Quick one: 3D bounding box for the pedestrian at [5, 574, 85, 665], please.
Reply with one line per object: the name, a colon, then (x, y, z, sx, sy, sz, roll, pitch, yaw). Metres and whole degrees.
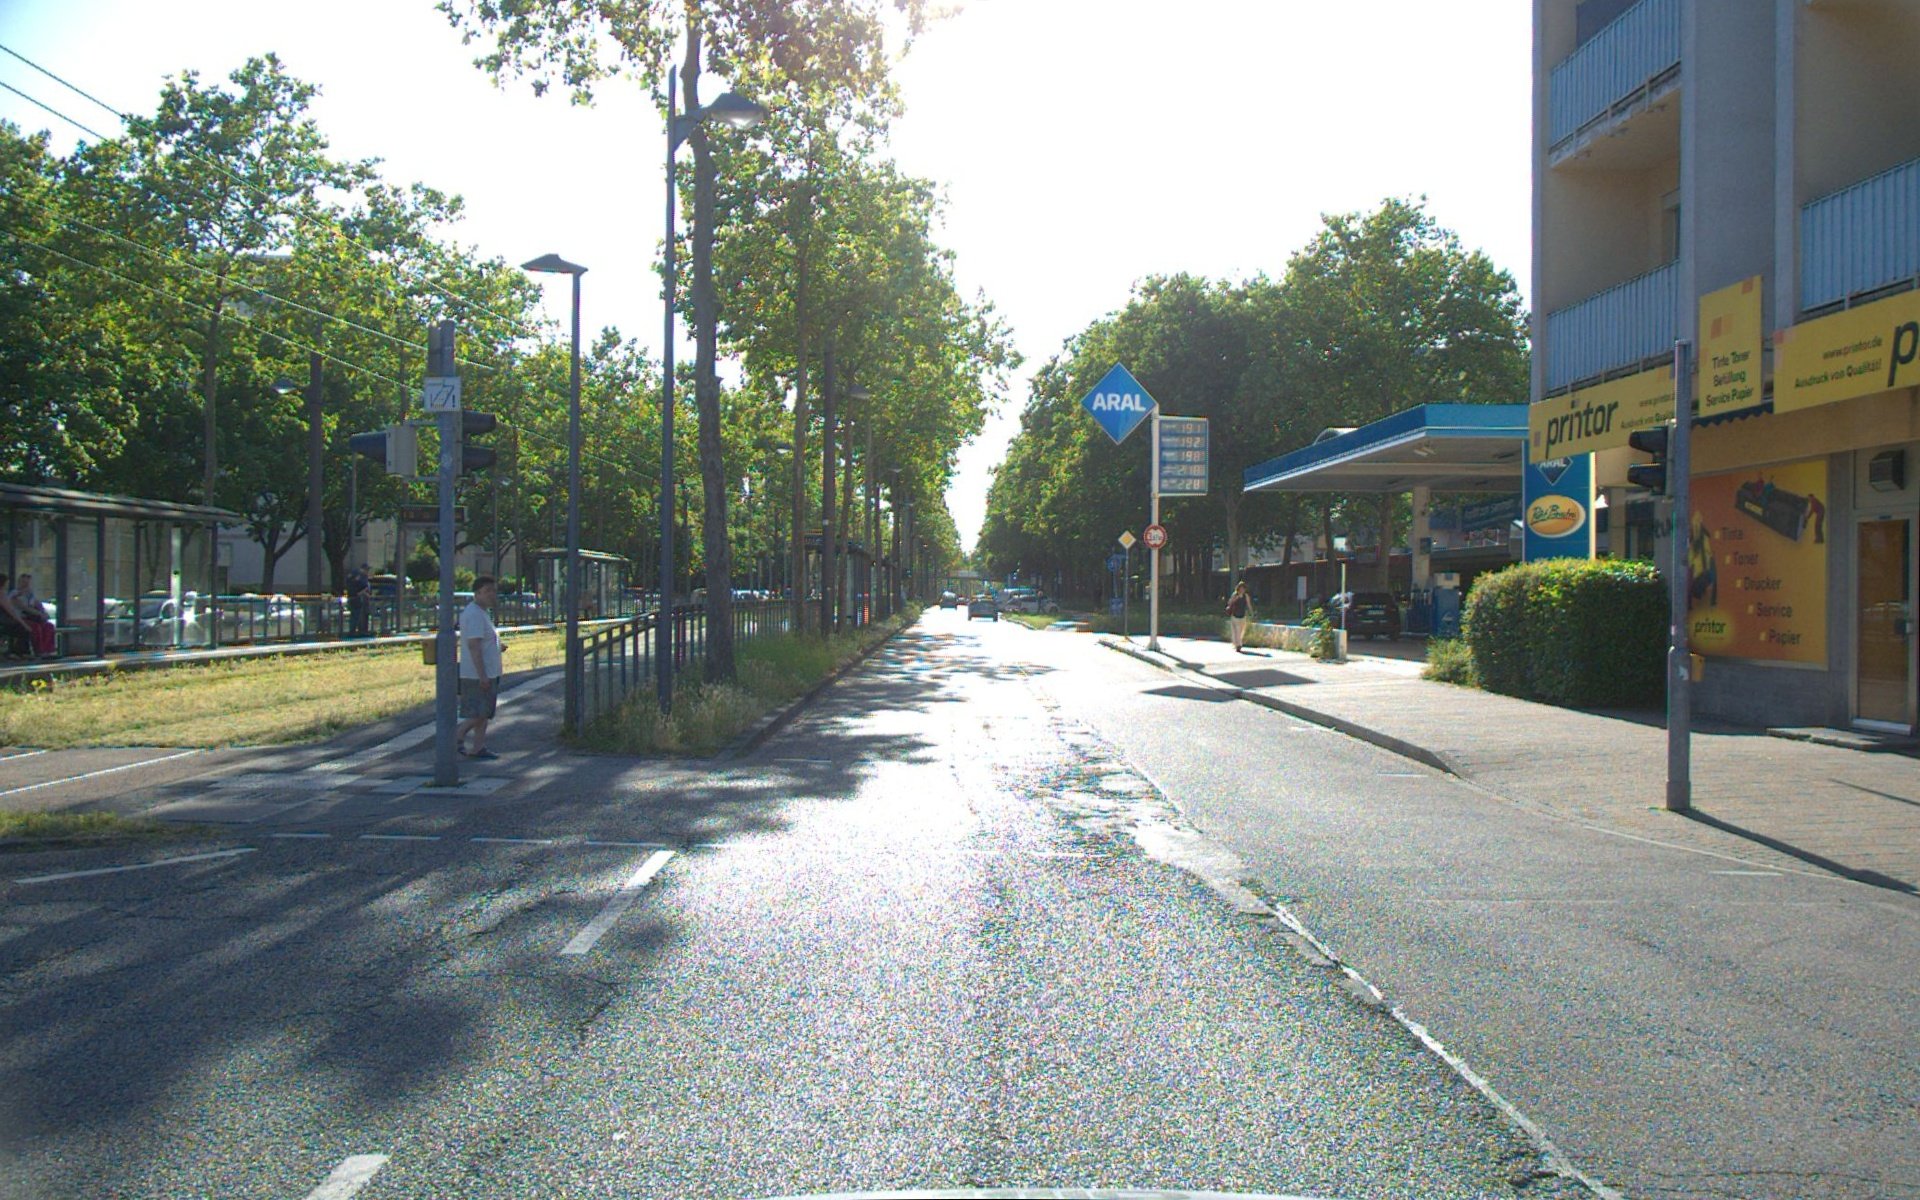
pedestrian: (-13.944, 0.291, 25.214, 0.716, 1.365, 0.774, 0, 0, 13)

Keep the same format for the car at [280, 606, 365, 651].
car: (-22.837, 0.983, 59.359, 1.561, 1.514, 4.019, 0, 0, -1)

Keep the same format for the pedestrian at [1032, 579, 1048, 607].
pedestrian: (5.067, -0.457, 104.594, 0.704, 1.736, 0.646, -1, -1, -35)

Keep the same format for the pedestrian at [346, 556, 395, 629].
pedestrian: (-14.040, -0.184, 39.377, 0.865, 1.719, 0.754, 1, 0, 0)

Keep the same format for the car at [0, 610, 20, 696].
car: (-16.915, 0.902, 26.692, 1.573, 1.452, 3.535, 0, 0, -2)

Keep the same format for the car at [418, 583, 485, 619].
car: (-23.119, 0.025, 75.322, 1.678, 1.573, 3.934, 0, 0, 2)

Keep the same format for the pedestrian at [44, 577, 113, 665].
pedestrian: (-13.915, 0.324, 26.114, 0.680, 1.365, 0.734, 0, 0, 1)

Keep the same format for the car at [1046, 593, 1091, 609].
car: (9.635, 0.087, 146.476, 4.153, 1.437, 1.693, 0, 0, -44)

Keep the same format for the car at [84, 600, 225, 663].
car: (-19.927, 0.734, 41.098, 1.561, 1.470, 3.930, 0, 0, 0)

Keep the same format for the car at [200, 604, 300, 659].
car: (-22.763, 0.981, 53.196, 1.561, 1.664, 3.929, 0, 0, -1)

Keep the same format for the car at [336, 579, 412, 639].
car: (-23.242, 0.323, 65.739, 1.679, 2.301, 3.932, 0, 0, -1)

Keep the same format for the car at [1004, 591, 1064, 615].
car: (5.191, 0.206, 116.200, 3.947, 1.495, 1.742, -2, 1, -32)

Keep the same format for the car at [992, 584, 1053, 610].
car: (4.802, -0.226, 126.491, 4.628, 1.885, 1.804, -1, 0, -41)

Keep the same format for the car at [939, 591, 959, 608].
car: (-1.011, -0.029, 153.669, 1.811, 1.562, 3.866, 0, 0, 0)

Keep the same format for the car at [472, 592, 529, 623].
car: (-23.484, 0.356, 84.726, 1.678, 1.573, 4.201, 0, 0, 1)

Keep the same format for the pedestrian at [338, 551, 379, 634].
pedestrian: (-14.009, -0.182, 38.537, 0.705, 1.900, 0.637, 1, 0, 0)

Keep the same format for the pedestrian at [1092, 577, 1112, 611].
pedestrian: (8.081, -0.365, 94.364, 0.909, 1.918, 0.797, 0, 0, -14)

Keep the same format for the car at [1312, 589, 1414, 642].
car: (11.974, 0.440, 49.367, 1.687, 1.489, 4.000, 1, 0, -7)

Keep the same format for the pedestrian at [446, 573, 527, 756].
pedestrian: (-4.143, 0.552, 14.460, 0.648, 1.555, 0.536, 1, 0, -19)

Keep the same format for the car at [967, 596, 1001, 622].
car: (1.387, 0.539, 97.193, 1.883, 1.436, 3.999, 1, 0, -1)

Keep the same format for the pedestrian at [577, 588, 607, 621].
pedestrian: (-14.679, 0.176, 65.977, 0.821, 1.283, 0.798, 1, 0, 28)

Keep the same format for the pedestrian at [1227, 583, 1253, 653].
pedestrian: (6.989, 0.453, 41.313, 0.591, 1.731, 0.553, 0, 0, 3)
